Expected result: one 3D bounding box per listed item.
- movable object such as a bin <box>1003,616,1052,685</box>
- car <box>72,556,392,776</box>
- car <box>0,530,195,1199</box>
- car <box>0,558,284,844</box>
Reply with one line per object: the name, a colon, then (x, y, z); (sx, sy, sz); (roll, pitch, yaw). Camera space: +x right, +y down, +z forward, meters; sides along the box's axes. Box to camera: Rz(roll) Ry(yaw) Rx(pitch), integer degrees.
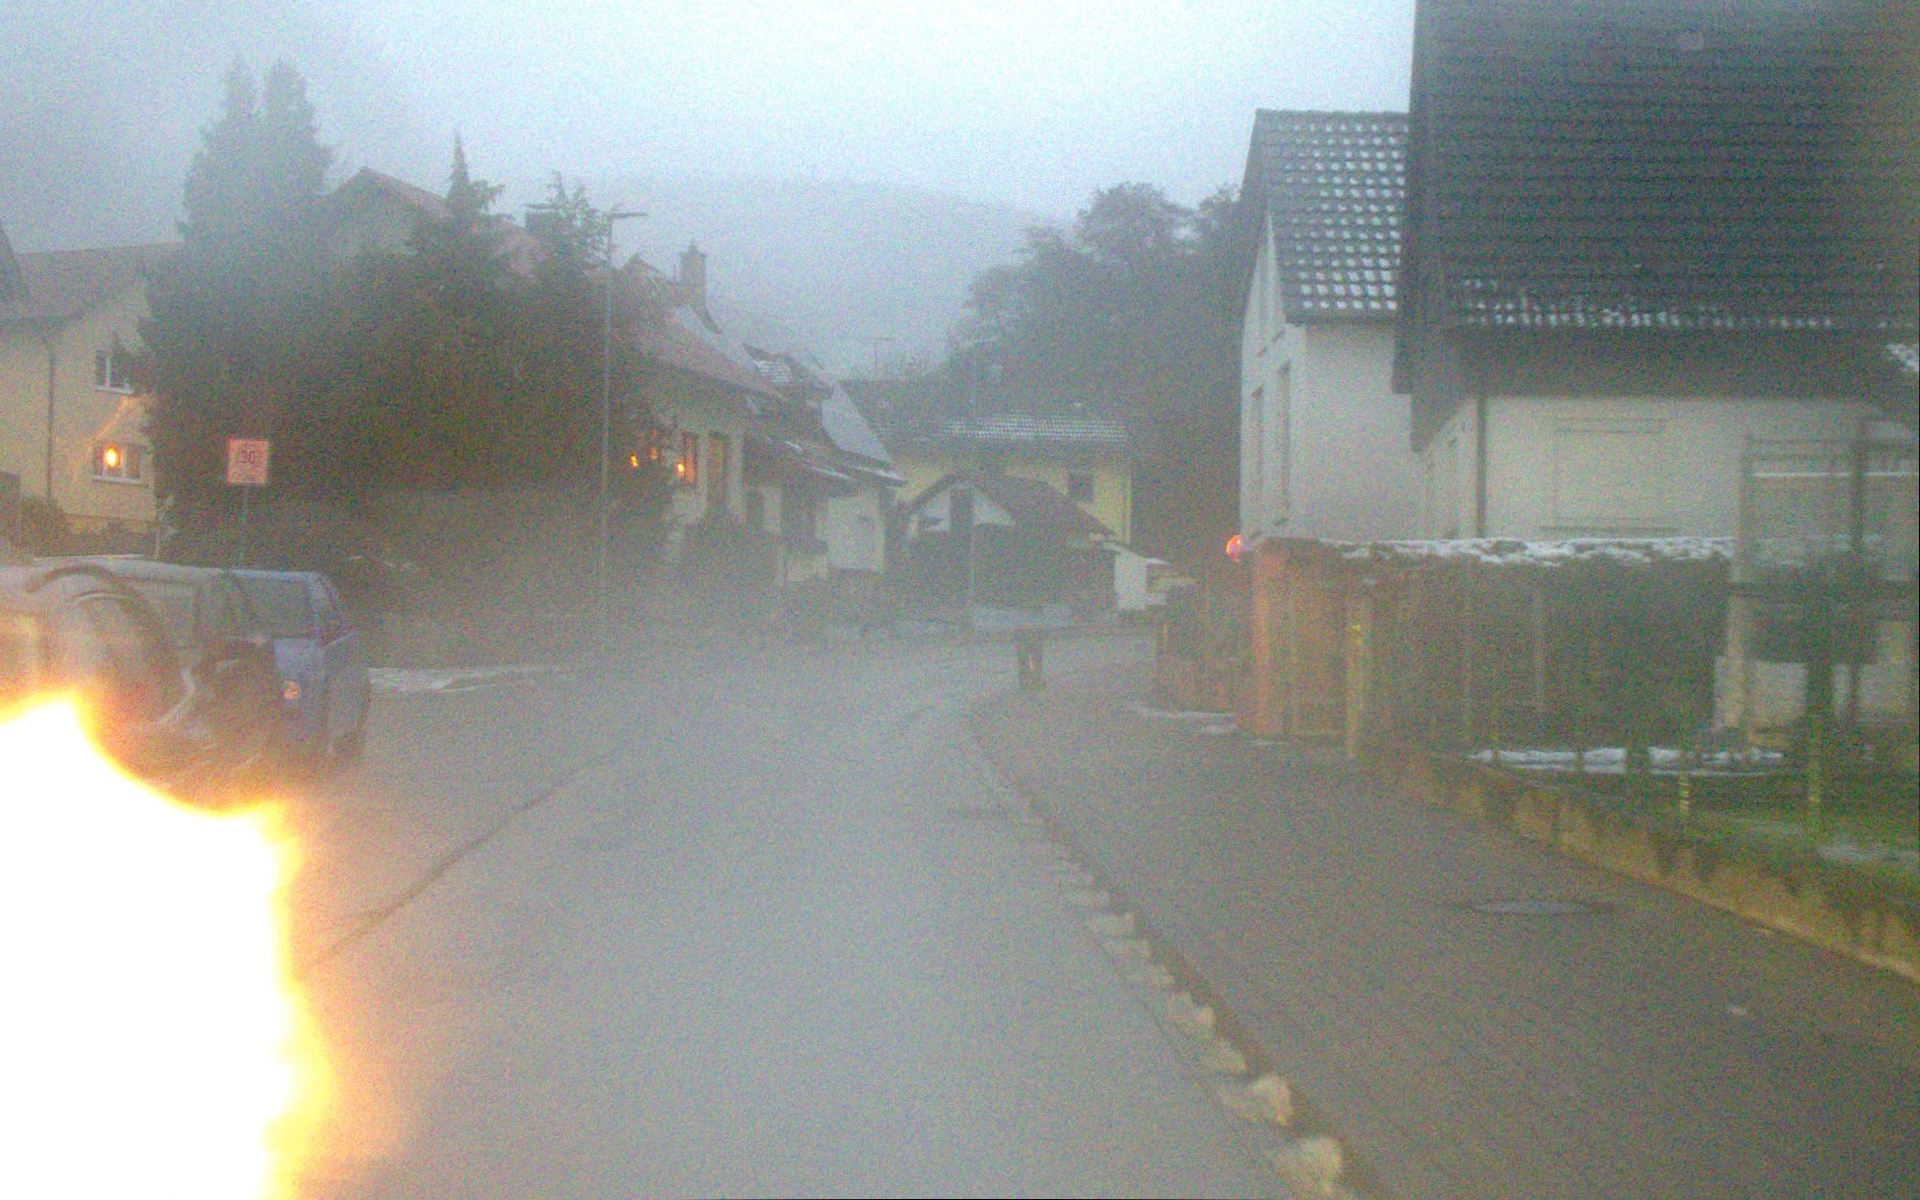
movable object such as a bin: (0.960, 0.716, 48.506); (0.614, 0.943, 0.594); (-3, -2, 5)
car: (-5.129, 0.413, 24.646); (1.667, 1.405, 3.914); (1, 1, -3)
car: (-3.022, 0.581, 8.845); (1.773, 1.490, 4.381); (-1, 1, -9)
car: (-4.979, 0.497, 19.503); (1.664, 1.413, 3.691); (2, 0, -3)
